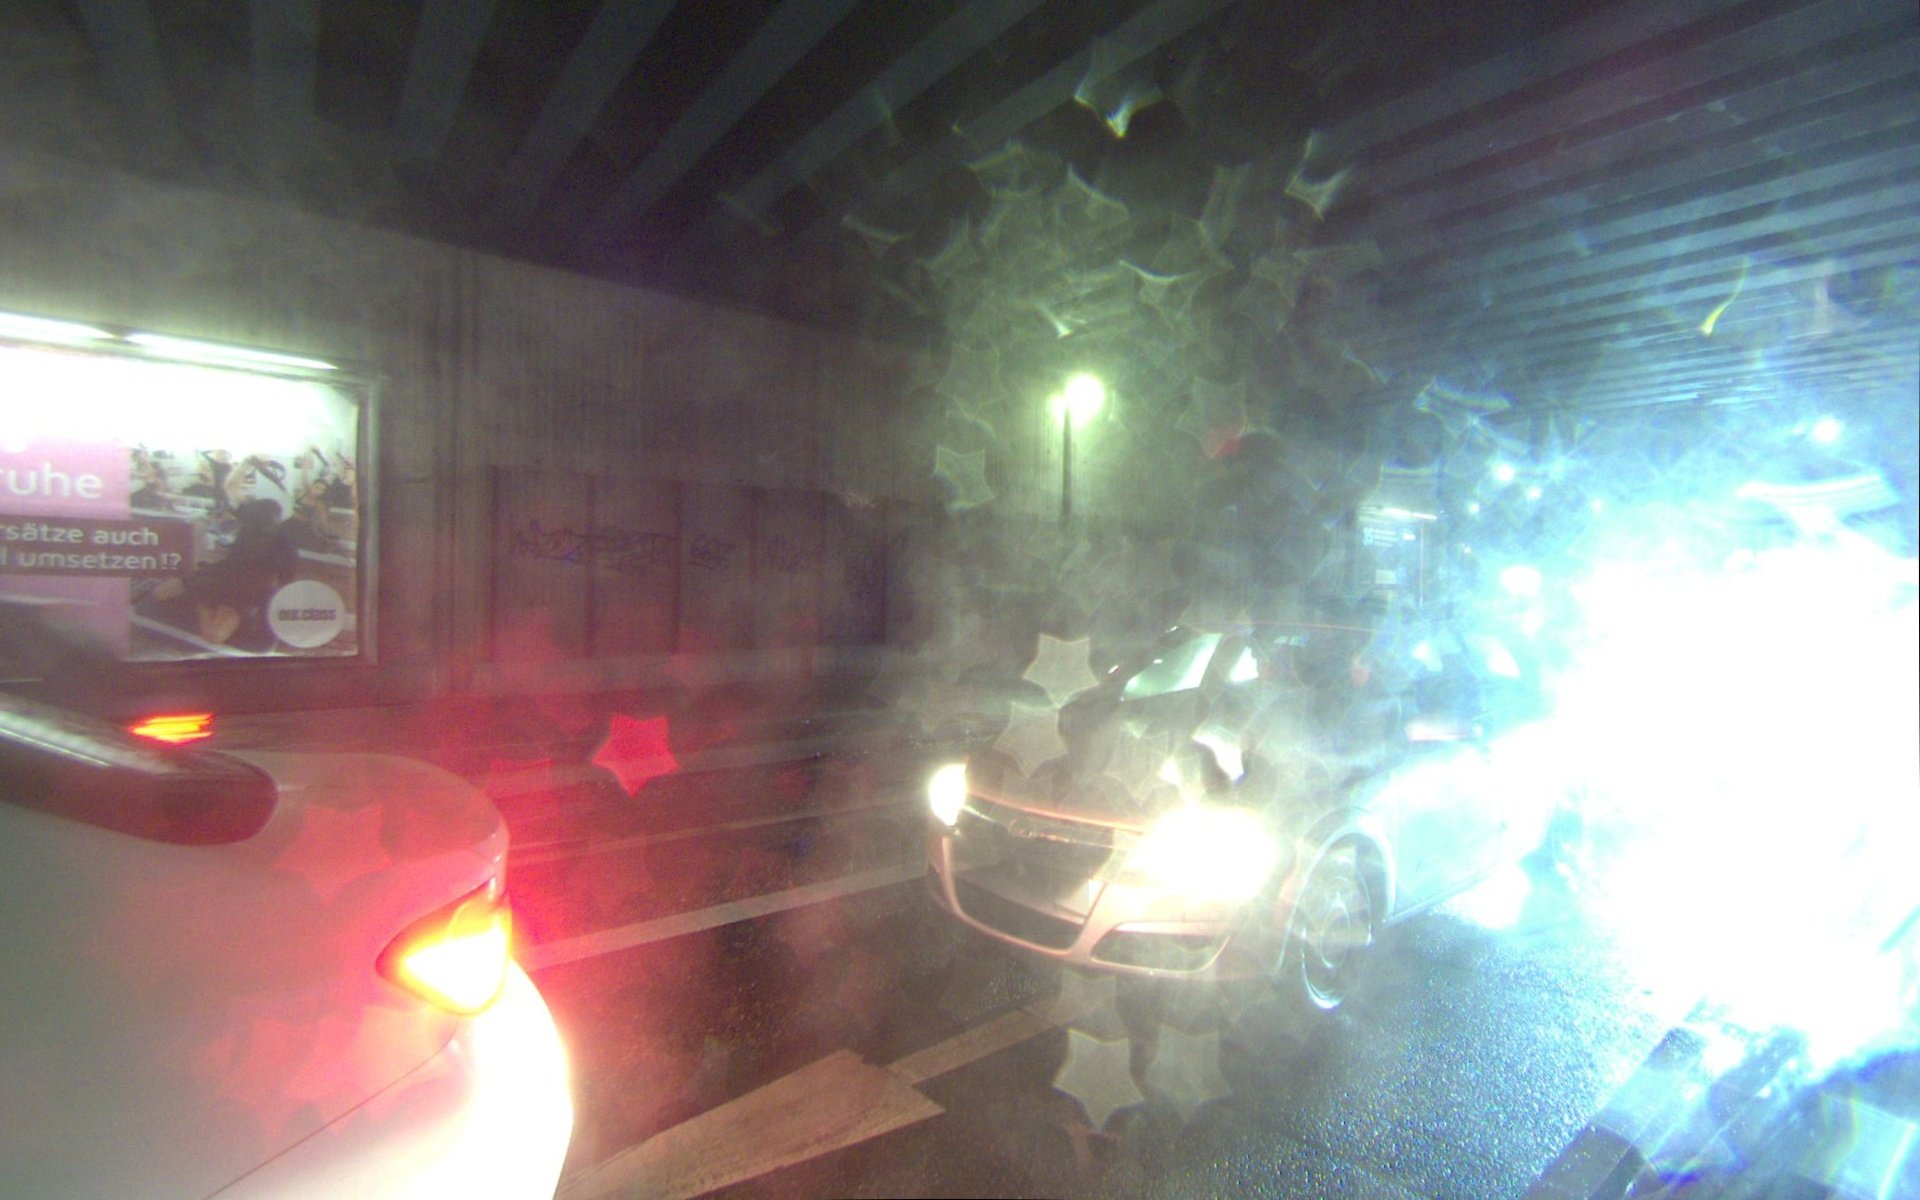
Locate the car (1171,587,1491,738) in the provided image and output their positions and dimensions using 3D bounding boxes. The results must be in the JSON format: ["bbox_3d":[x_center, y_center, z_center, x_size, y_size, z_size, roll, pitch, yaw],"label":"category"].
[{"bbox_3d":[4.609,0.609,12.208,4.426,1.474,1.850,0,1,-43],"label":"car"}]

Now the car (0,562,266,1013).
[{"bbox_3d":[-4.937,0.589,2.978,4.551,1.503,1.850,1,1,-43],"label":"car"}]

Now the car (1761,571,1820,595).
[{"bbox_3d":[64.263,-1.310,78.380,1.946,1.763,4.887,0,0,20],"label":"car"}]

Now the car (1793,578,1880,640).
[{"bbox_3d":[24.601,0.215,28.371,1.737,1.610,3.939,0,0,42],"label":"car"}]

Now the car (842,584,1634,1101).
[{"bbox_3d":[1.576,0.660,4.844,3.931,1.384,1.791,-2,2,-41],"label":"car"}]

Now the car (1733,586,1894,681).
[{"bbox_3d":[15.381,0.522,18.171,3.930,1.522,1.628,-1,0,-41],"label":"car"}]

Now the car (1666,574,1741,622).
[{"bbox_3d":[24.959,-0.120,33.926,1.845,1.449,4.440,0,2,39],"label":"car"}]

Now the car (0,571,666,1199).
[{"bbox_3d":[-2.671,0.687,0.992,4.273,1.422,1.719,-1,0,-41],"label":"car"}]

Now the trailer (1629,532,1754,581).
[{"bbox_3d":[69.292,-3.961,96.484,3.905,4.229,13.880,0,0,10],"label":"trailer"}]

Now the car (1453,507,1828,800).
[{"bbox_3d":[6.519,0.361,9.499,4.274,2.115,1.996,-1,0,-43],"label":"car"}]

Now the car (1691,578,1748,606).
[{"bbox_3d":[43.909,-0.486,58.600,1.836,1.449,4.461,0,2,27],"label":"car"}]

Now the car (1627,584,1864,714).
[{"bbox_3d":[10.785,0.550,13.821,3.701,1.531,1.867,-1,0,-41],"label":"car"}]

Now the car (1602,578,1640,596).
[{"bbox_3d":[57.391,-1.144,87.918,1.859,1.490,3.974,0,0,20],"label":"car"}]

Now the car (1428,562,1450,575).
[{"bbox_3d":[67.558,-4.452,142.919,1.943,1.763,4.896,0,0,15],"label":"car"}]

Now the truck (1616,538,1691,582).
[{"bbox_3d":[70.422,-4.028,102.940,3.906,4.229,6.358,0,0,10],"label":"truck"}]

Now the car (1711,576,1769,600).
[{"bbox_3d":[50.649,-0.795,65.815,1.832,1.449,4.470,0,2,22],"label":"car"}]

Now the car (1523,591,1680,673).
[{"bbox_3d":[13.623,0.586,21.389,4.429,1.449,1.849,-2,2,-44],"label":"car"}]

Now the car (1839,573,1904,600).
[{"bbox_3d":[60.626,-0.891,67.403,1.889,1.763,4.363,0,0,23],"label":"car"}]

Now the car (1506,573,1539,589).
[{"bbox_3d":[61.956,-2.083,111.584,1.941,1.763,4.898,0,0,13],"label":"car"}]

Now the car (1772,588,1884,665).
[{"bbox_3d":[18.765,0.497,21.816,1.678,1.490,3.938,0,0,43],"label":"car"}]
